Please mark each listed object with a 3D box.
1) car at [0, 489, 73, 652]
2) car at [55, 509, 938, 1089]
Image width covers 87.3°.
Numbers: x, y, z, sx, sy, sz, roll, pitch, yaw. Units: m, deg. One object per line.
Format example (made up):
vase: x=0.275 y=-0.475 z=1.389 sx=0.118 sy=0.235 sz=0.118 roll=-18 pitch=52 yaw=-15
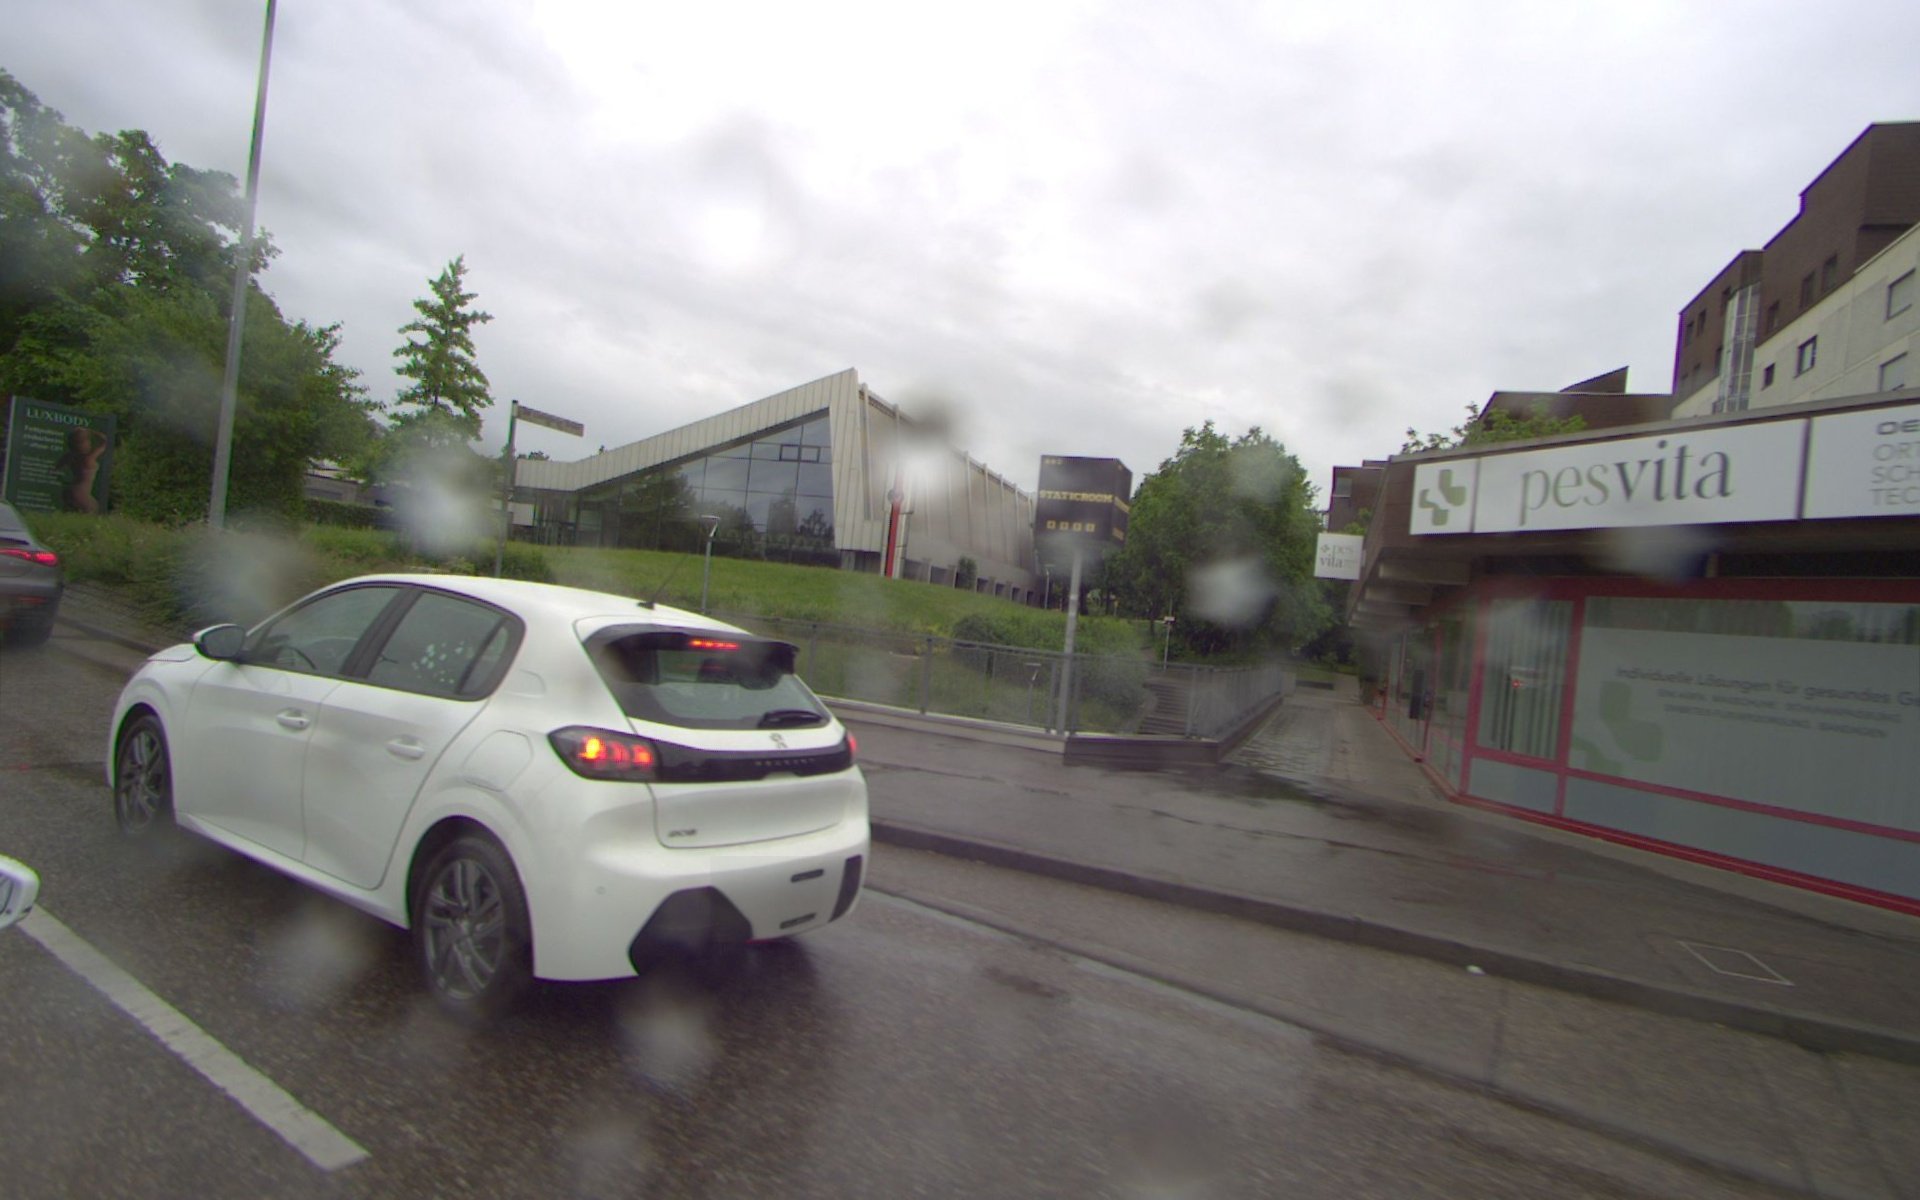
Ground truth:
car: x=-10.320 y=-0.501 z=9.726 sx=3.298 sy=1.404 sz=1.736 roll=9 pitch=-1 yaw=34
car: x=-2.253 y=0.569 z=4.634 sx=3.868 sy=1.536 sz=1.695 roll=6 pitch=-3 yaw=32
